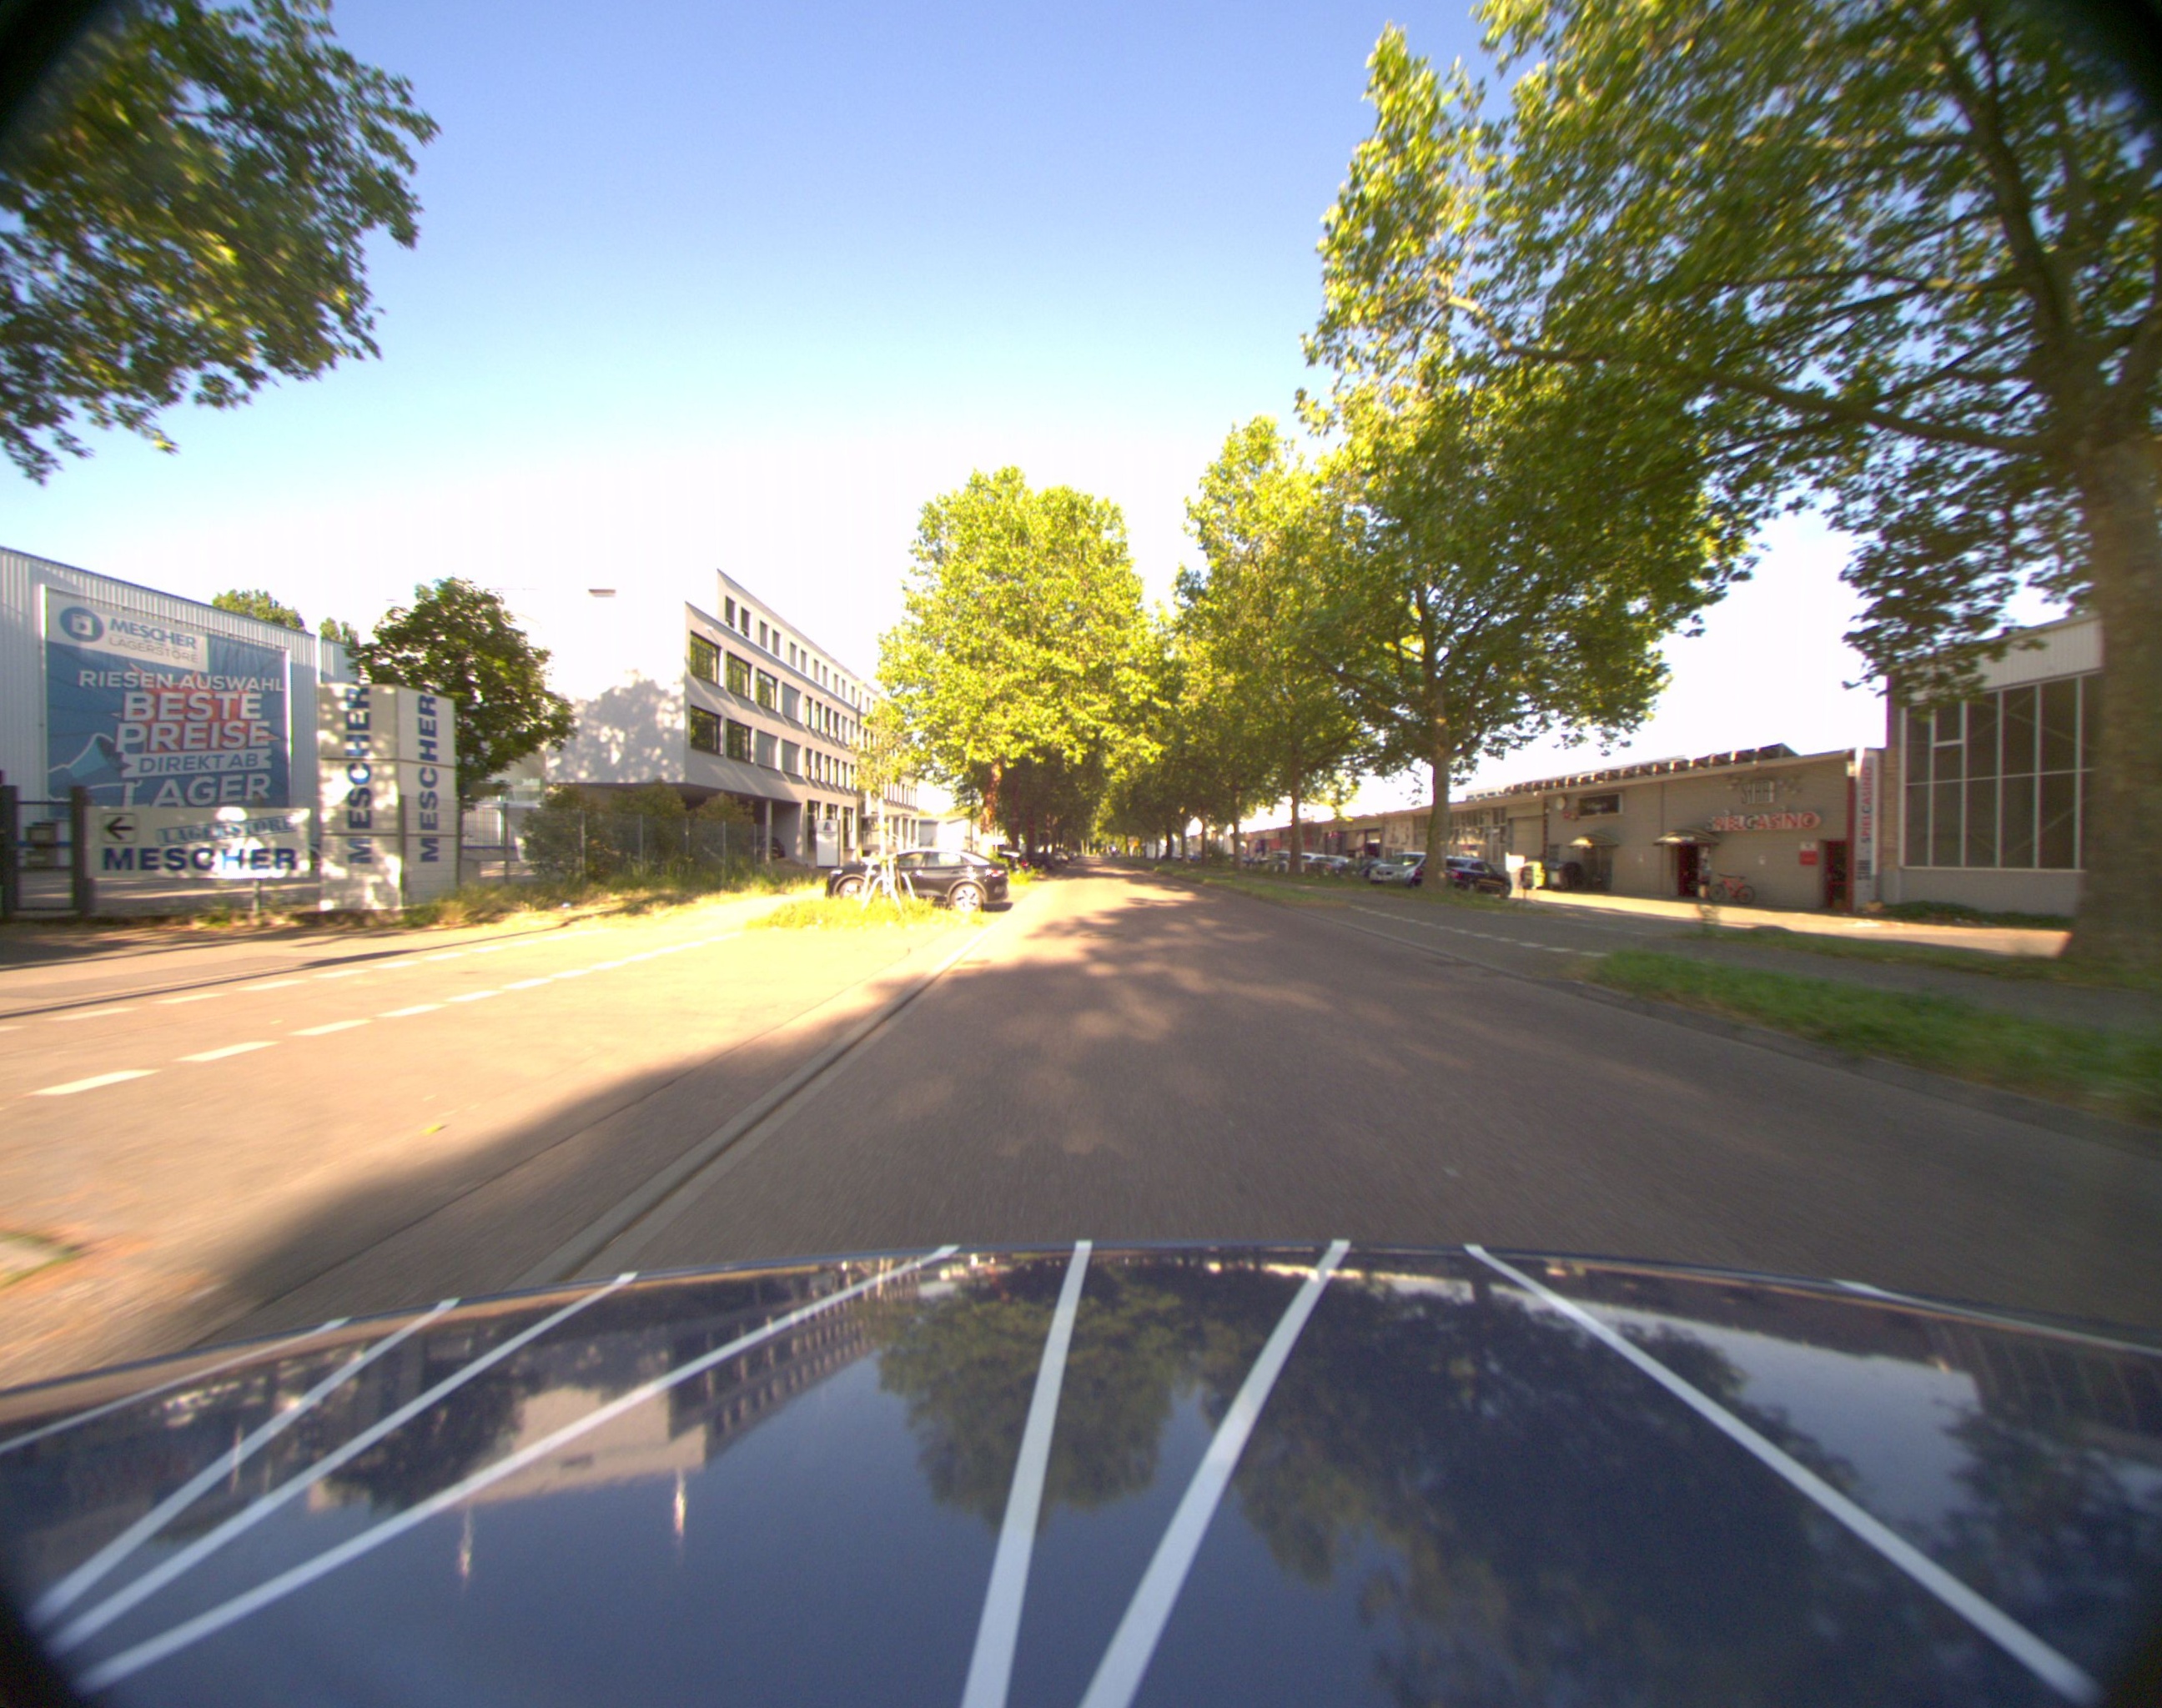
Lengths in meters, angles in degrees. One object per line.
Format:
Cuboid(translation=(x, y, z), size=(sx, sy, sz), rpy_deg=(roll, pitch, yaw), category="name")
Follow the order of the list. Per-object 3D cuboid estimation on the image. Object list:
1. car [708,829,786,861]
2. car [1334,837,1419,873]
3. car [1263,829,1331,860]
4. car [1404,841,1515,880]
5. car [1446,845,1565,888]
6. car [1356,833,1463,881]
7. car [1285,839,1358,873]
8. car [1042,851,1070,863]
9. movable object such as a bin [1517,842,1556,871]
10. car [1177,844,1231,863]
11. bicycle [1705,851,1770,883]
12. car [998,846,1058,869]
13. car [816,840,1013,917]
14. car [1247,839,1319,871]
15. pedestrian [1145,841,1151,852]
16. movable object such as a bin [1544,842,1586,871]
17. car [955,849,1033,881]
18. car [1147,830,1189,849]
Cuboid(translation=(-19.186, -0.542, 43.942), size=(1.998, 1.722, 4.669), rpy_deg=(-2, 1, 6), category="car")
Cuboid(translation=(14.964, 0.043, 38.433), size=(4.270, 1.620, 1.995), rpy_deg=(-3, 2, -36), category="car")
Cuboid(translation=(12.611, -0.573, 44.314), size=(1.994, 1.689, 4.270), rpy_deg=(0, 2, 44), category="car")
Cuboid(translation=(13.774, 0.199, 27.522), size=(4.493, 1.298, 1.994), rpy_deg=(-1, 1, -40), category="car")
Cuboid(translation=(14.083, 0.355, 25.086), size=(4.493, 1.298, 1.994), rpy_deg=(-1, 1, -40), category="car")
Cuboid(translation=(13.418, 0.069, 30.932), size=(4.492, 1.721, 1.995), rpy_deg=(-3, 2, -36), category="car")
Cuboid(translation=(12.738, 0.081, 40.078), size=(1.994, 1.620, 4.270), rpy_deg=(0, 2, 43), category="car")
Cuboid(translation=(-3.542, 0.445, 109.869), size=(3.944, 1.505, 1.666), rpy_deg=(2, 2, 0), category="car")
Cuboid(translation=(23.890, 0.124, 39.867), size=(1.059, 1.423, 1.572), rpy_deg=(-2, 2, -2), category="movable object such as a bin")
Cuboid(translation=(12.266, -0.075, 75.805), size=(4.905, 1.750, 1.996), rpy_deg=(-2, 2, -23), category="car")
Cuboid(translation=(24.682, 0.475, 28.611), size=(0.537, 1.052, 2.159), rpy_deg=(-7, 1, 2), category="bicycle")
Cuboid(translation=(-3.917, 0.260, 56.984), size=(4.295, 1.477, 1.860), rpy_deg=(3, 1, -1), category="car")
Cuboid(translation=(-4.116, 0.591, 19.418), size=(4.582, 1.706, 1.942), rpy_deg=(2, 1, -3), category="car")
Cuboid(translation=(12.434, 0.038, 46.755), size=(4.006, 1.740, 1.995), rpy_deg=(-3, 2, -31), category="car")
Cuboid(translation=(10.237, -1.134, 115.413), size=(0.805, 1.763, 0.940), rpy_deg=(-2, 2, 2), category="pedestrian")
Cuboid(translation=(24.479, 0.118, 38.477), size=(1.059, 1.423, 1.627), rpy_deg=(-2, 2, -2), category="movable object such as a bin")
Cuboid(translation=(-4.398, 0.546, 39.034), size=(3.794, 1.477, 1.860), rpy_deg=(1, 1, -1), category="car")
Cuboid(translation=(15.094, -2.542, 131.794), size=(6.972, 2.835, 2.595), rpy_deg=(3, -1, -28), category="car")
